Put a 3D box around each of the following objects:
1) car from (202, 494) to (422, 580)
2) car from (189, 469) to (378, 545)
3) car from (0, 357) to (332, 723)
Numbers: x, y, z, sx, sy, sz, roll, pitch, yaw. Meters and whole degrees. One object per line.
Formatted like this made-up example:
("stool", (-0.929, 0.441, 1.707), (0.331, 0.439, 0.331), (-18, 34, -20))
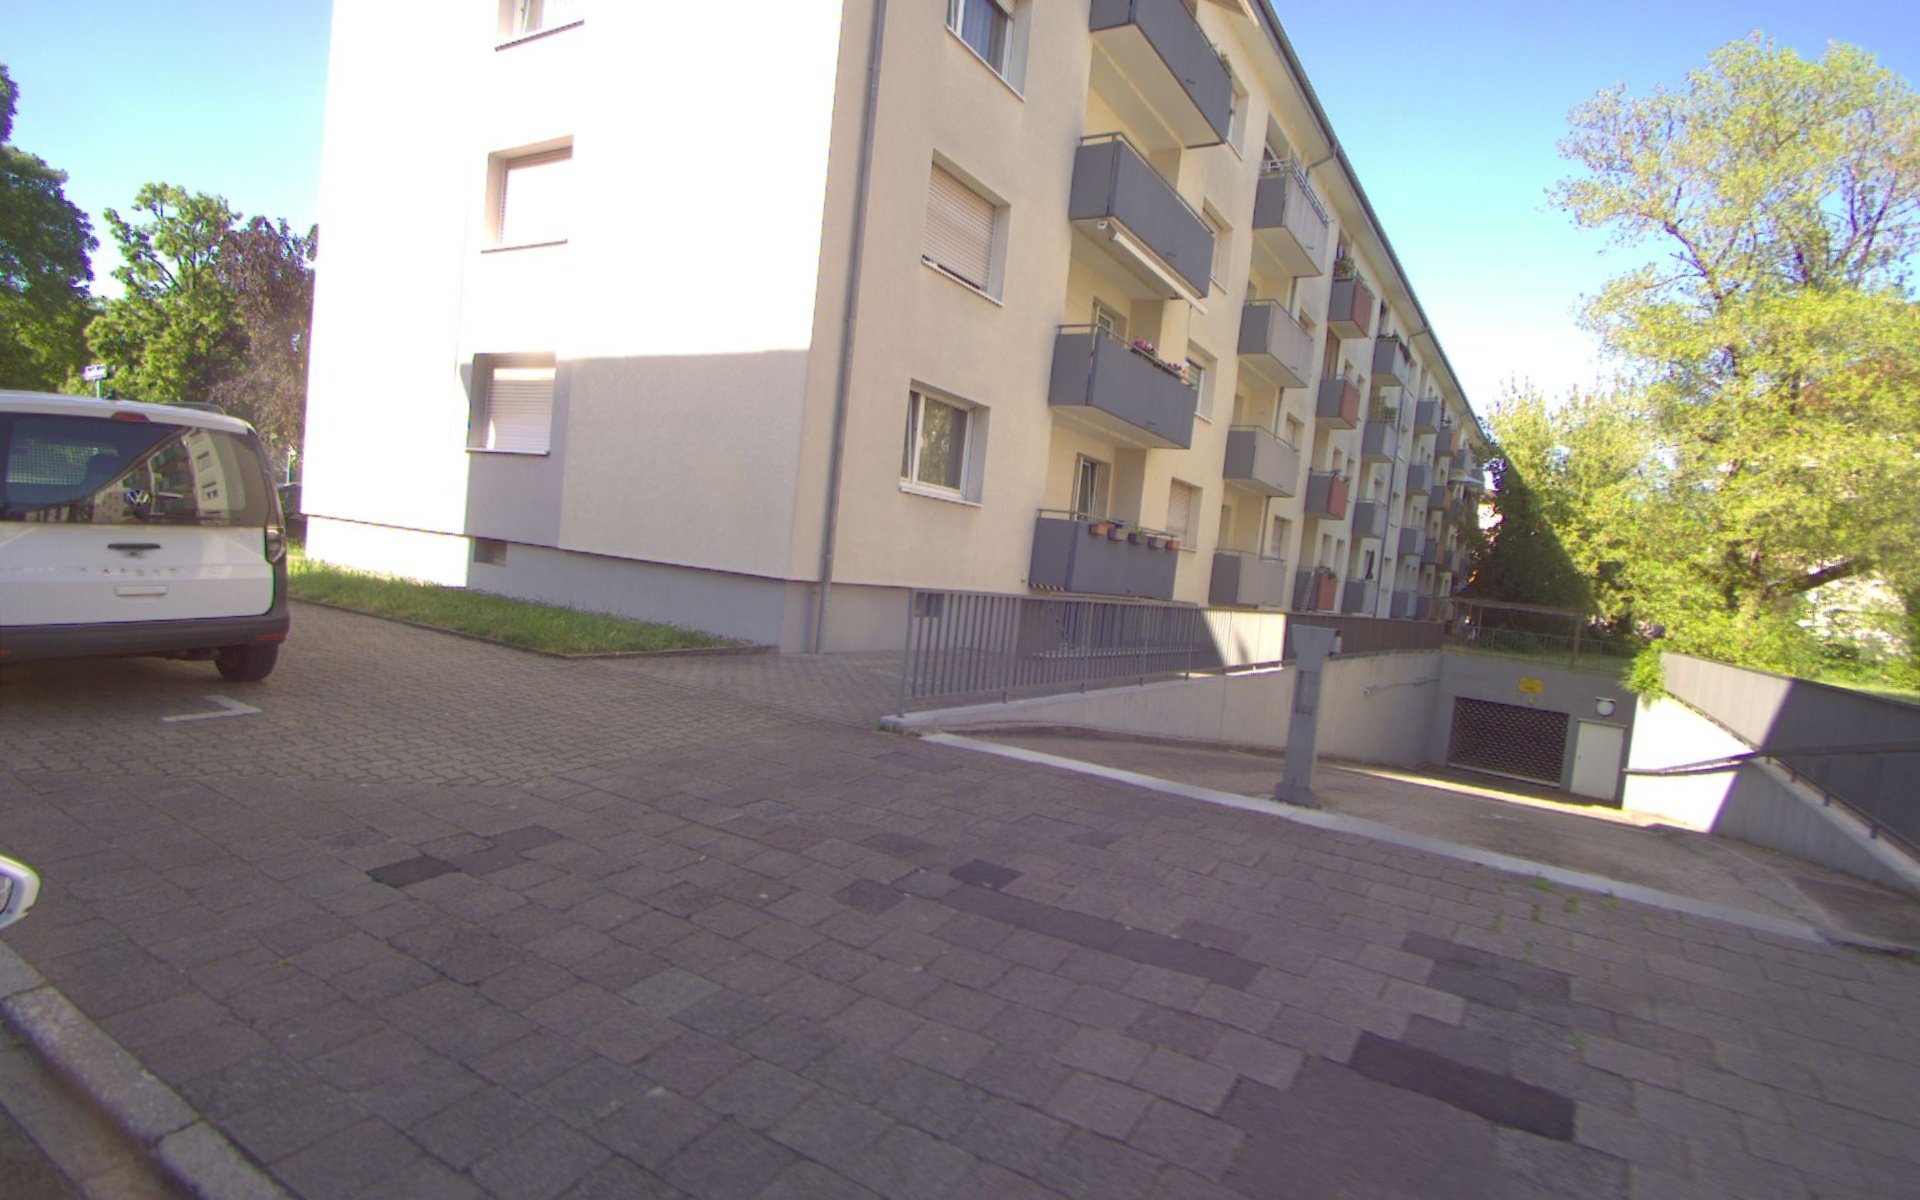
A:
("car", (-15.262, -1.433, 23.918), (1.595, 1.569, 4.075), (7, 2, 29))
("car", (-19.290, -2.616, 28.870), (1.689, 1.685, 4.153), (4, 1, 30))
("car", (-6.374, -0.546, 6.923), (4.465, 1.873, 1.795), (8, 6, 33))
